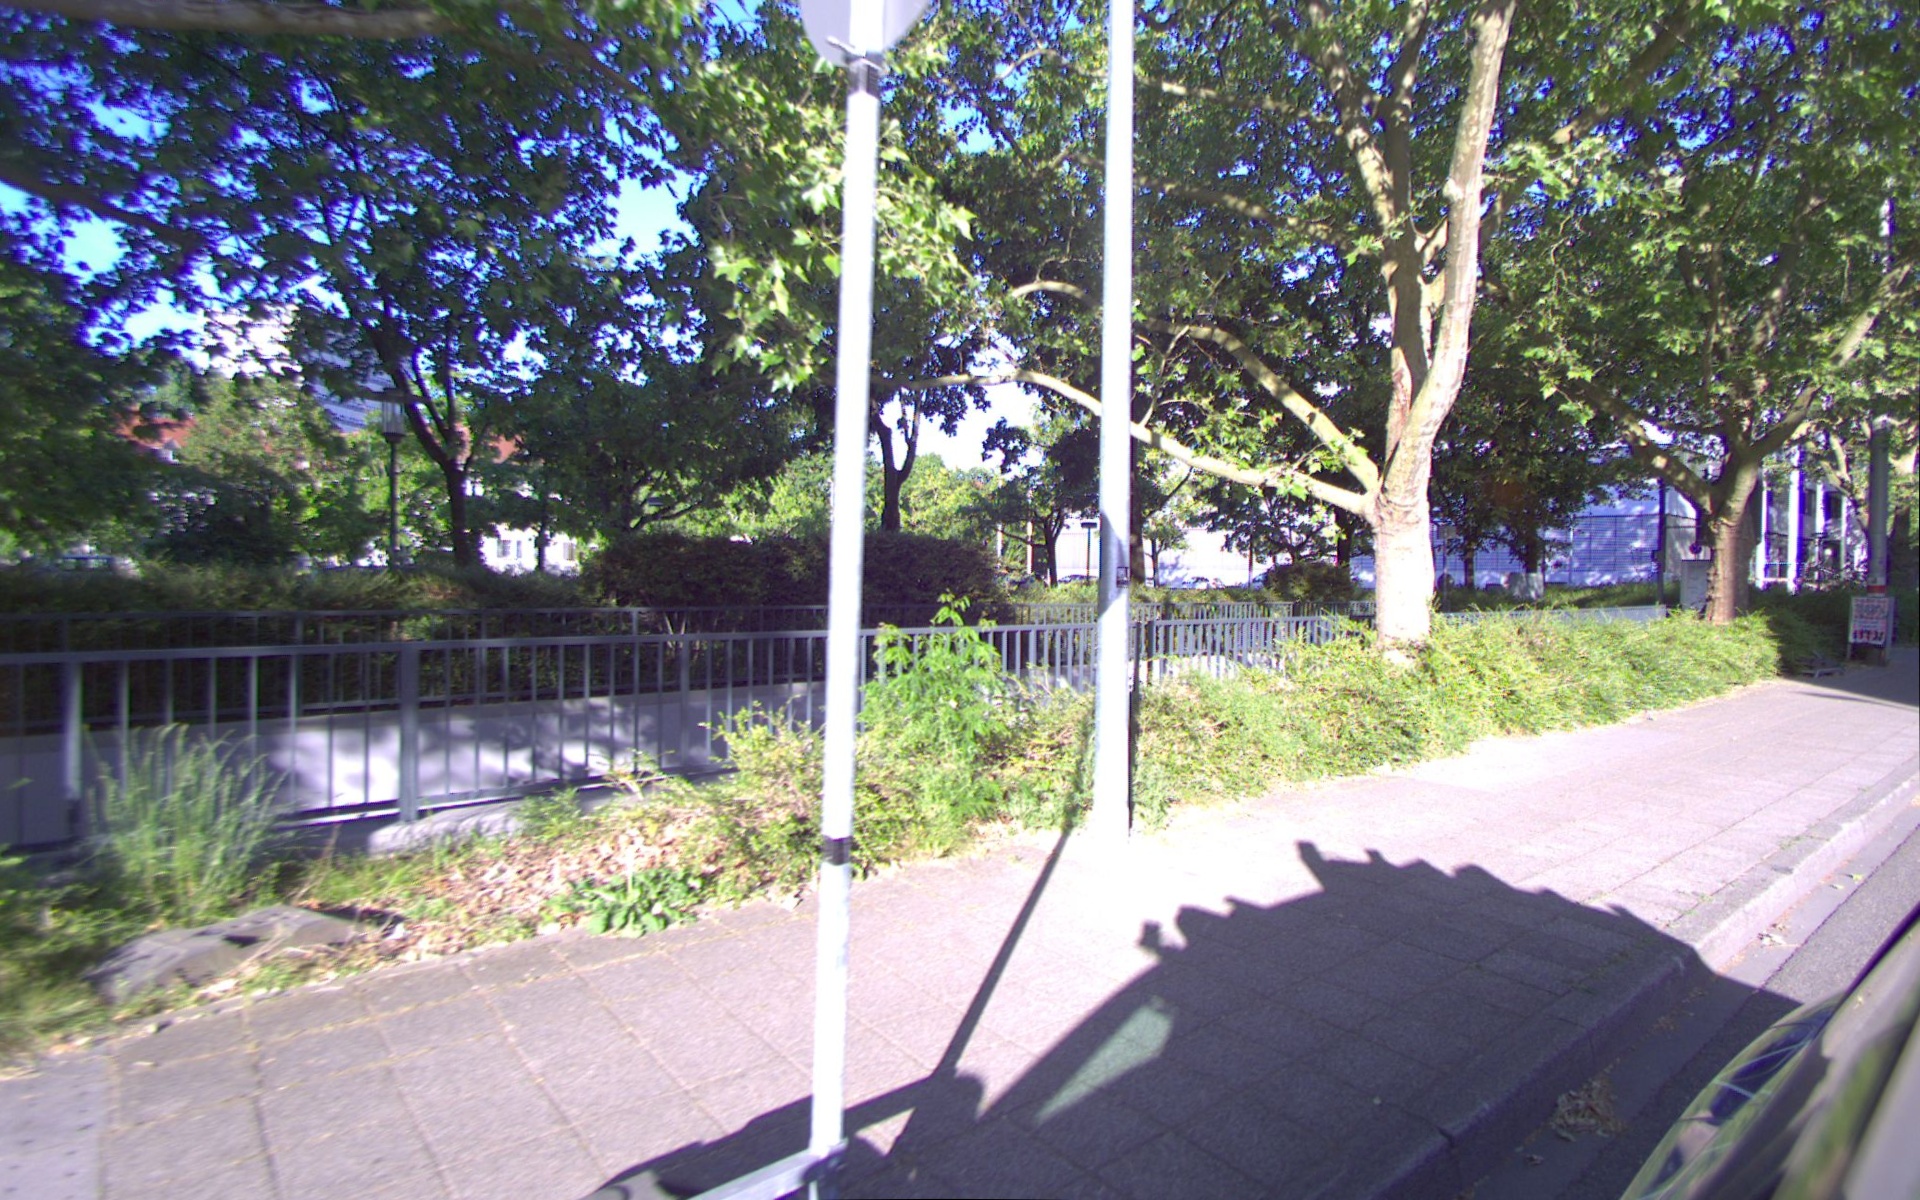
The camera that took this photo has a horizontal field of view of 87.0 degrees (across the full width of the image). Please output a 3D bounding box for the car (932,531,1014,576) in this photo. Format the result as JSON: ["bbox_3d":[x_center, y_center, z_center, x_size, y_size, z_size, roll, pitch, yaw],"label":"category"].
[{"bbox_3d":[0.851,-2.826,62.663,5.071,2.605,1.996,0,1,-42],"label":"car"}]

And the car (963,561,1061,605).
[{"bbox_3d":[2.306,-0.735,44.323,4.237,1.834,1.785,0,1,-42],"label":"car"}]

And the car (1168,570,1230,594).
[{"bbox_3d":[16.034,-1.202,68.065,1.602,1.503,3.844,0,2,-42],"label":"car"}]

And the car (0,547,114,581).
[{"bbox_3d":[-43.904,-1.699,48.913,4.574,1.493,2.011,0,0,-40],"label":"car"}]

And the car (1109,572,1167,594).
[{"bbox_3d":[12.537,-1.218,71.272,1.602,1.503,3.844,0,2,-42],"label":"car"}]

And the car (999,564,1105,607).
[{"bbox_3d":[3.683,-0.570,40.199,4.237,1.621,1.785,0,1,-42],"label":"car"}]

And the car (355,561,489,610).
[{"bbox_3d":[-19.104,-0.506,35.991,3.929,1.647,1.922,0,0,-40],"label":"car"}]

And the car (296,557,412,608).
[{"bbox_3d":[-26.003,-0.759,43.473,1.994,2.038,3.936,3,3,44],"label":"car"}]
